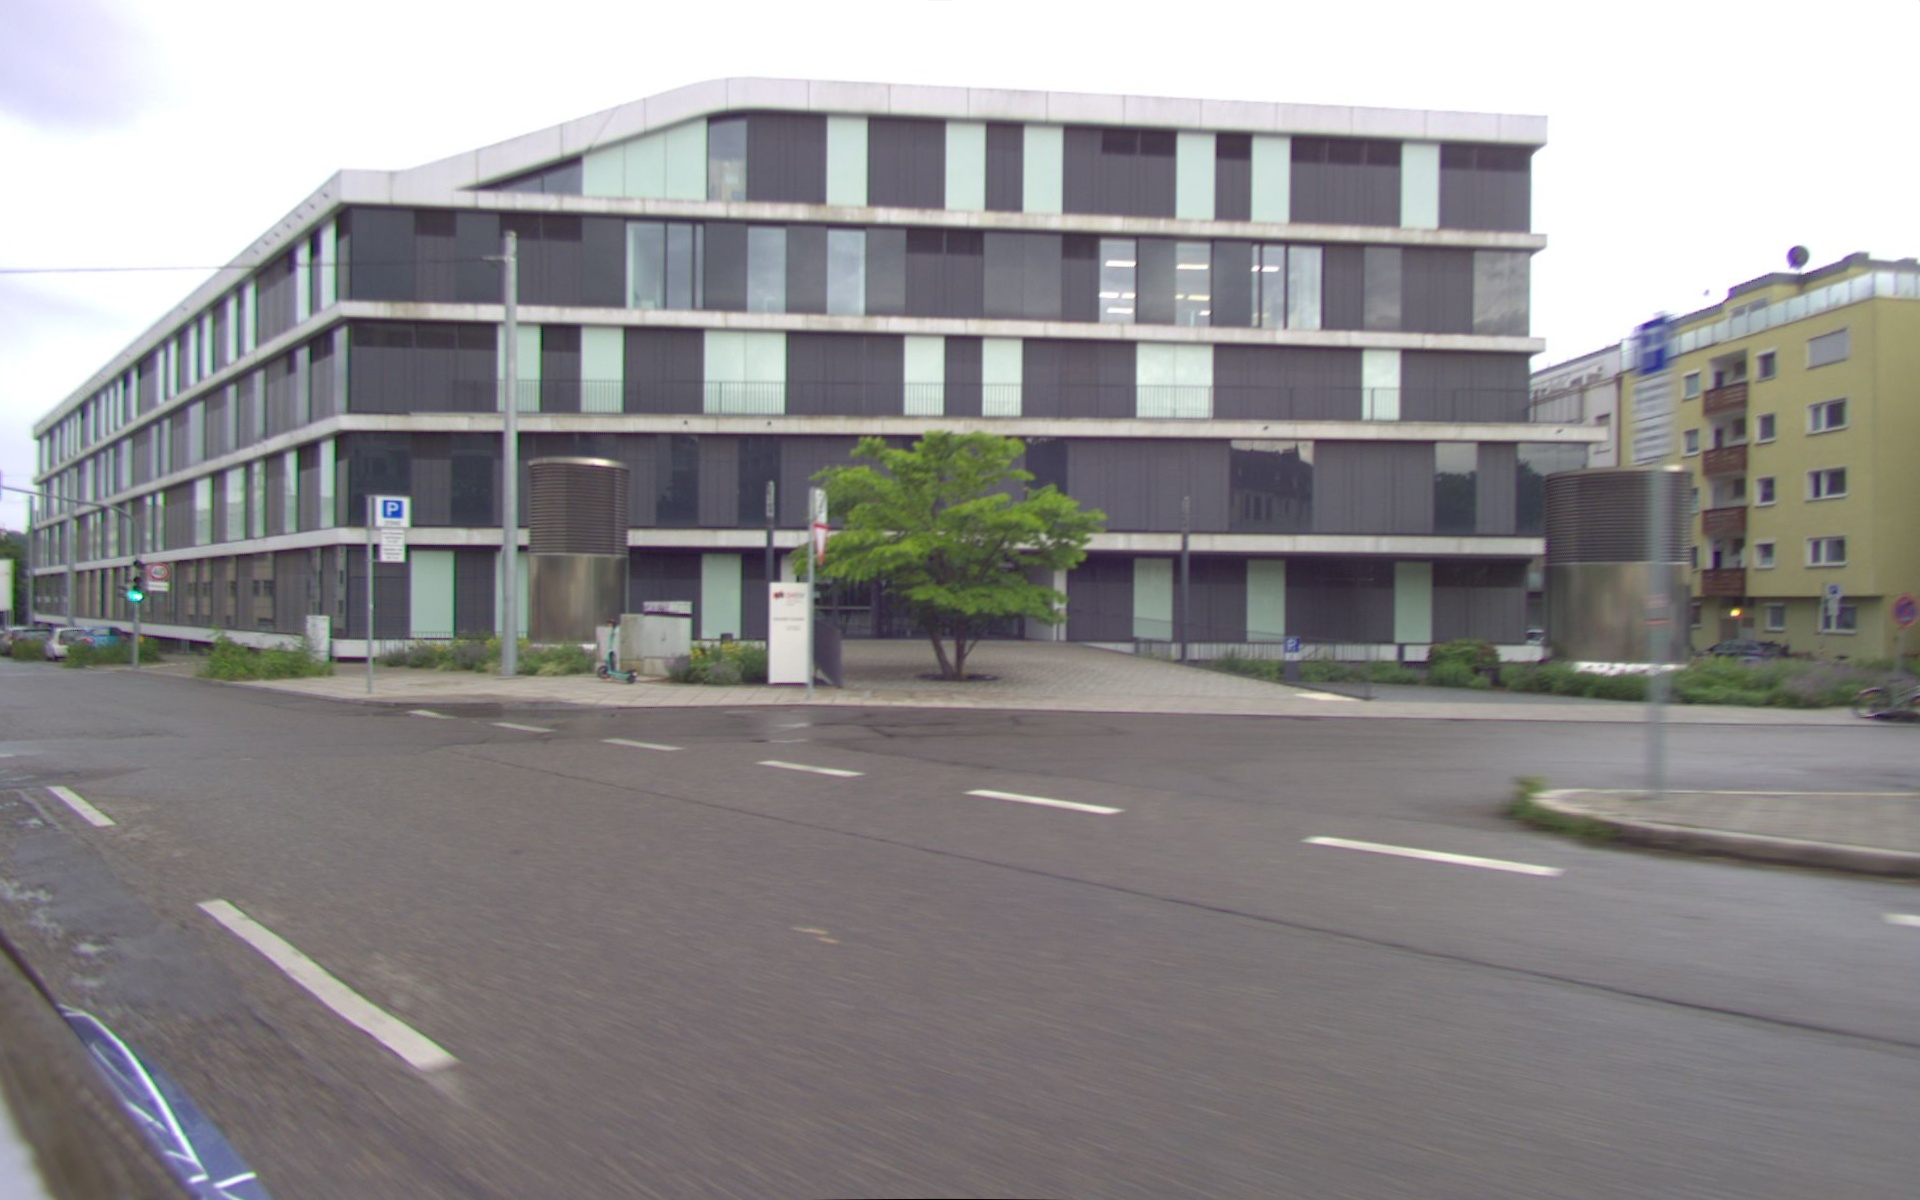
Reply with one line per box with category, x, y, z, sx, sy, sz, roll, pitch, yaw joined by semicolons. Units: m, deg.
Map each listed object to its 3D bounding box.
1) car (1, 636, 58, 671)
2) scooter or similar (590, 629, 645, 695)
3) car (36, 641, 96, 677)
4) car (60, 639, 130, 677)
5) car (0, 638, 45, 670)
car;-48.129;2.748;52.328;4.363;1.601;1.862;-3;0;43
scooter or similar;-6.805;1.210;20.110;1.231;1.258;0.491;-2;-1;42
car;-39.680;2.597;44.903;3.583;1.478;1.619;-2;-2;42
car;-35.705;2.367;41.769;3.580;1.478;1.621;-2;-2;40
car;-52.194;2.981;56.047;4.361;1.601;1.811;-3;0;42
